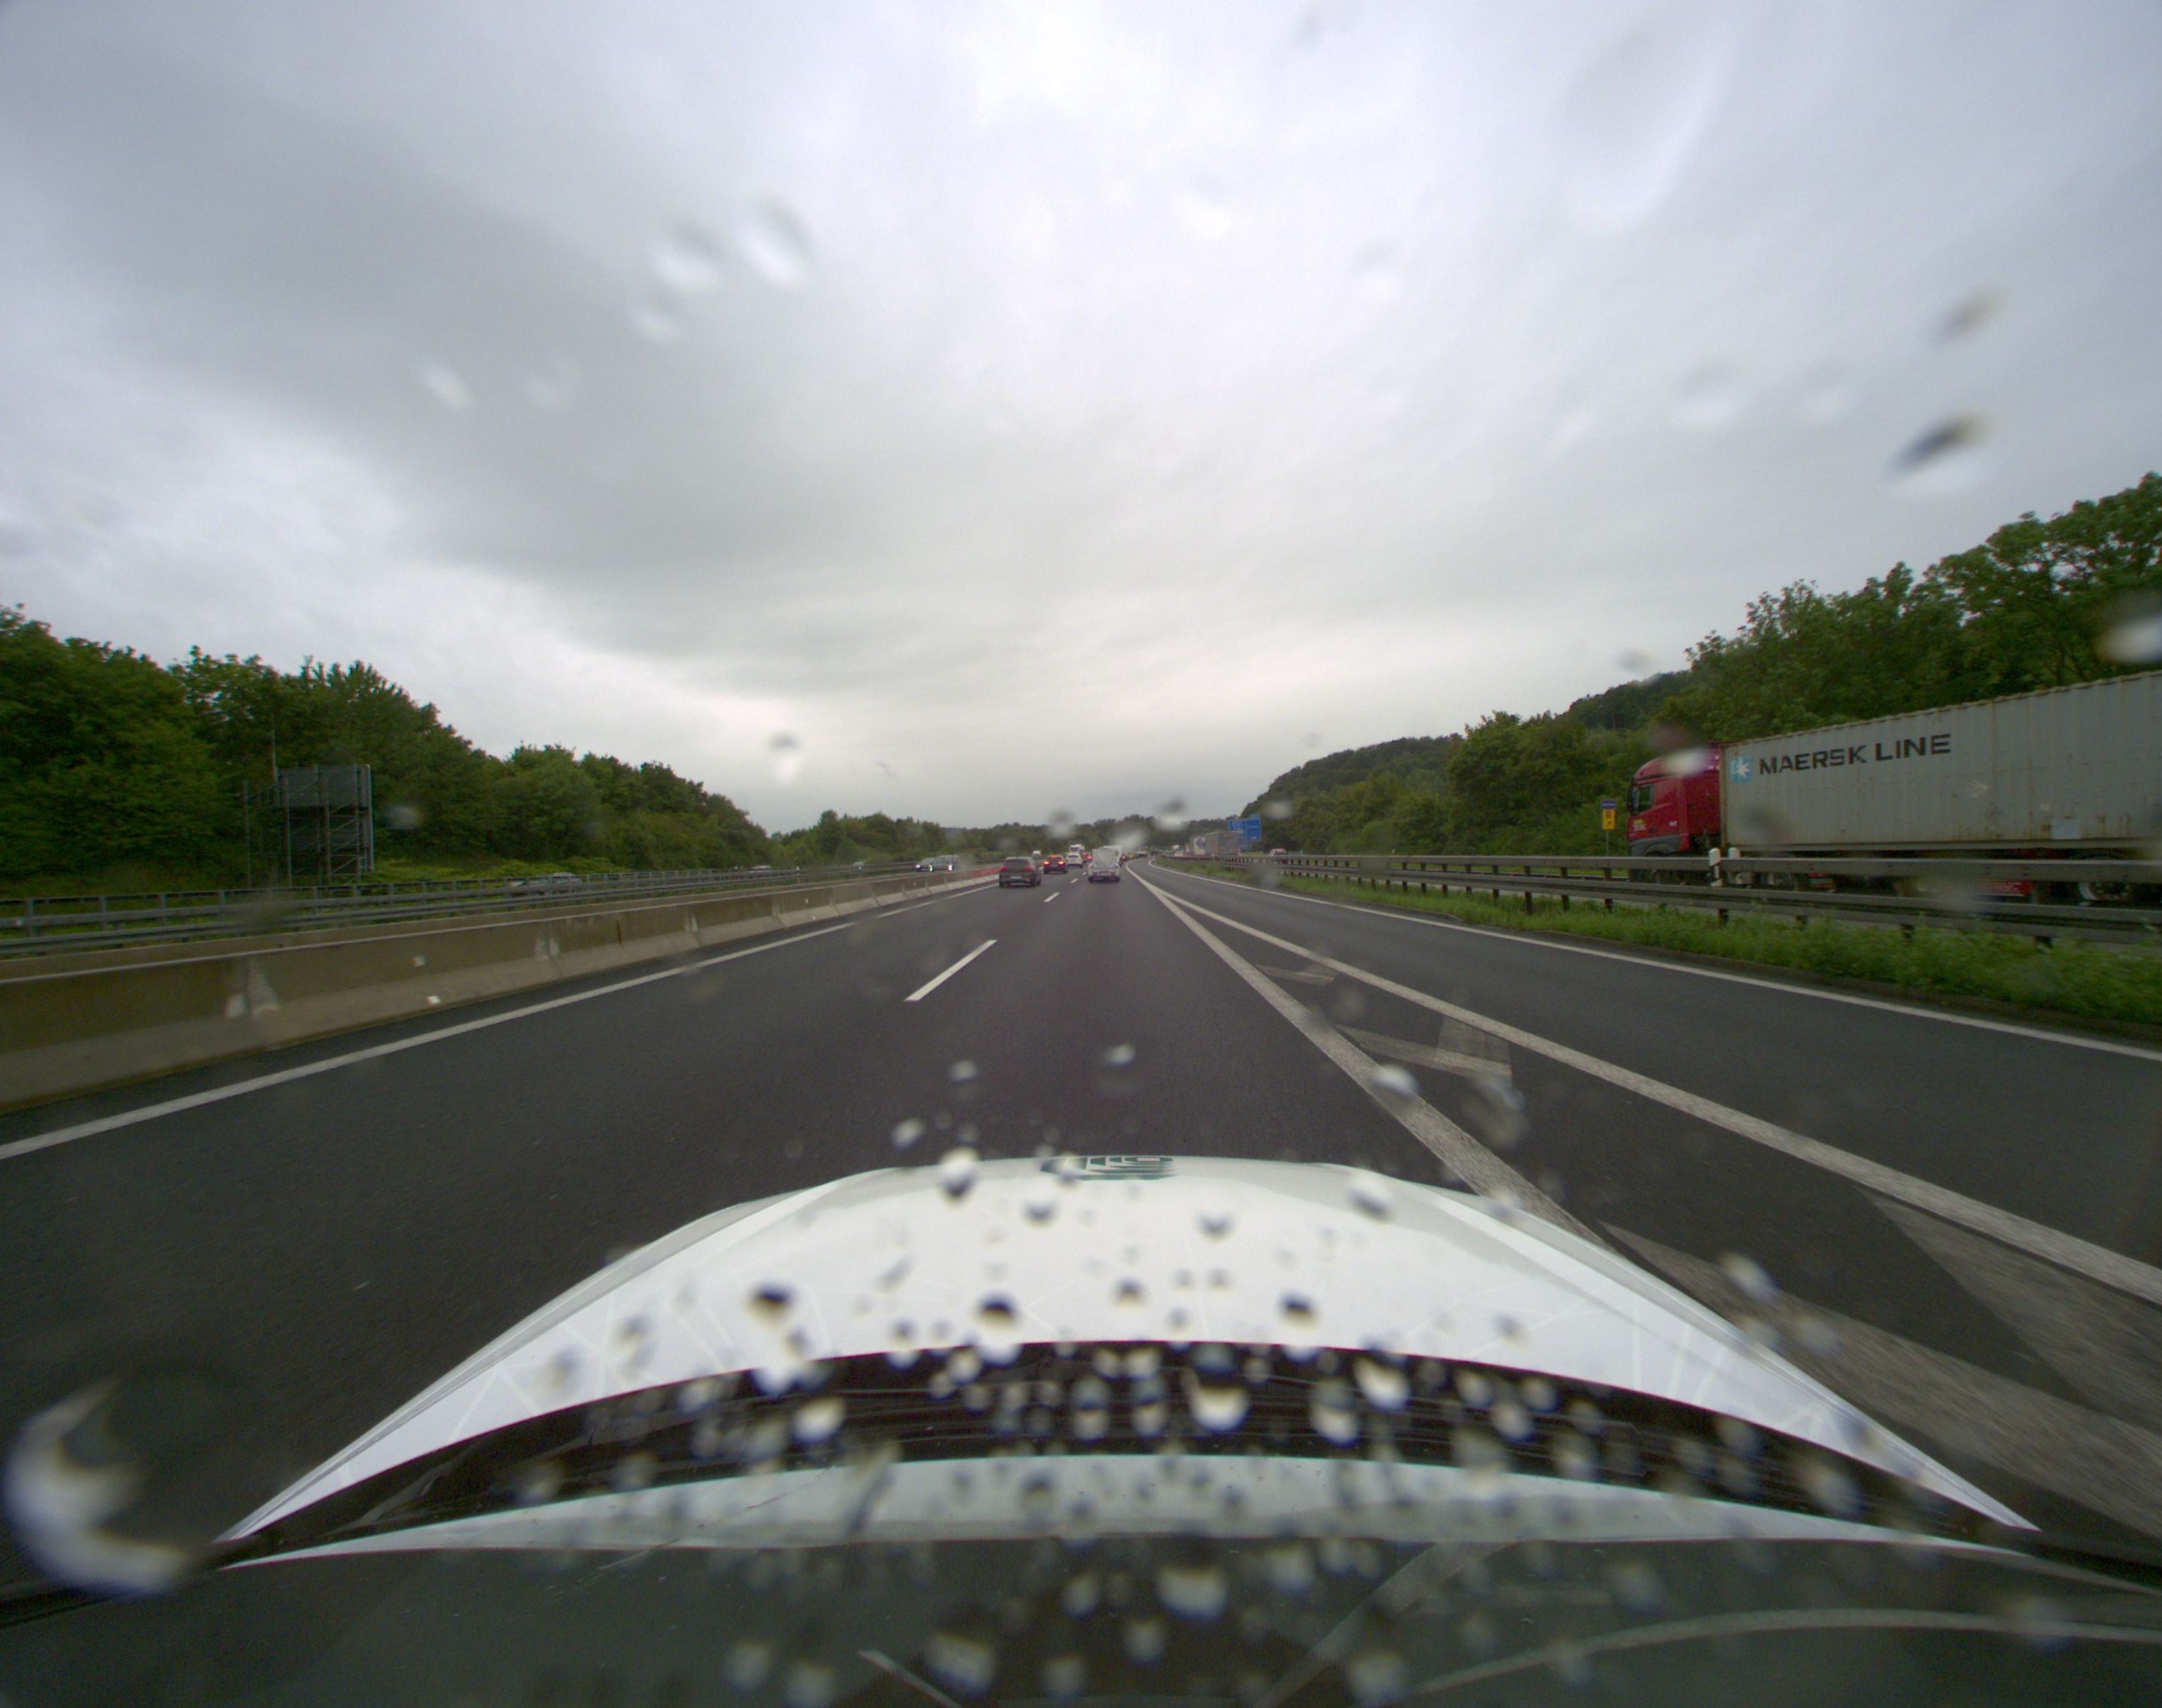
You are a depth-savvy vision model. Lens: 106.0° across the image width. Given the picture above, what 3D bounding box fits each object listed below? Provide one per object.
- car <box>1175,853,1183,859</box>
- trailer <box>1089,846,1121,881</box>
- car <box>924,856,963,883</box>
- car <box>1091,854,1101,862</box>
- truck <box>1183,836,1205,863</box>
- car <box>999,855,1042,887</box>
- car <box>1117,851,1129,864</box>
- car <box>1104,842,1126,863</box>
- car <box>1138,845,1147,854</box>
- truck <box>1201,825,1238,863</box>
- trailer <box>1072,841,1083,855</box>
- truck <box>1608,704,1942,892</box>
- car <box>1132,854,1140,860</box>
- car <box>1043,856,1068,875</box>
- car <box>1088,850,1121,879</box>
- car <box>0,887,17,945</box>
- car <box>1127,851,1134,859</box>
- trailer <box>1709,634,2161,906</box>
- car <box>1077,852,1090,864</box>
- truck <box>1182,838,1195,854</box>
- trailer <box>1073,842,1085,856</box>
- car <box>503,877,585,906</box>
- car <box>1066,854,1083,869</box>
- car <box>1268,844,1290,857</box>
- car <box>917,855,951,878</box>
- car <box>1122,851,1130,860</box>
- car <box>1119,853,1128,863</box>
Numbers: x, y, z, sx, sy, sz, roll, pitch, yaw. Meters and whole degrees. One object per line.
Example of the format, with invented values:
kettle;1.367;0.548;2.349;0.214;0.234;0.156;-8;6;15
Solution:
car;21.336;0.451;177.523;1.666;1.456;4.008;-1;0;7
trailer;1.279;0.528;44.819;1.670;1.812;4.000;-1;0;1
car;-10.723;1.204;63.746;1.986;2.014;4.984;-1;0;2
car;2.950;0.770;158.413;1.768;1.640;4.047;-1;0;4
truck;20.271;-0.791;146.978;3.200;4.666;13.050;-1;0;5
car;-2.925;0.799;40.164;1.669;1.456;4.002;-1;0;2
car;6.647;0.573;128.450;1.668;2.067;4.006;-1;0;5
car;4.356;-0.183;102.708;2.496;2.585;5.706;-1;0;4
car;18.354;-1.231;243.070;2.504;2.574;5.318;-1;0;4
truck;18.247;-1.230;108.047;3.203;4.666;13.039;-1;0;2
trailer;-0.900;-1.486;220.835;2.625;3.715;6.497;-1;0;3
truck;16.503;-1.154;20.126;2.610;3.885;6.385;-1;0;-3
car;14.638;0.803;216.266;2.029;1.683;4.002;-1;0;2
car;-2.027;0.896;66.153;1.758;1.456;4.002;-1;0;2
car;1.431;0.618;48.623;1.811;1.616;4.780;-1;0;2
car;-28.332;1.580;18.717;1.670;1.456;4.632;-1;0;0
car;12.231;0.204;202.281;1.668;1.812;4.005;-1;0;4
trailer;16.750;-1.202;13.541;2.597;3.894;12.480;-1;0;-2
car;0.363;0.546;116.699;1.769;1.640;4.045;-1;0;2
truck;33.103;-2.514;251.137;3.643;4.666;13.058;-1;0;7
trailer;-0.577;-1.451;226.718;2.625;3.736;10.819;-1;0;3
car;-31.708;2.173;48.241;1.812;1.493;4.476;-1;0;1
car;-0.737;0.831;91.850;1.769;1.640;4.045;-1;0;2
car;22.144;-0.390;91.355;1.669;1.456;4.003;-1;0;3
car;-13.388;1.107;74.500;1.986;2.014;4.984;-1;0;2
car;9.599;0.354;173.652;1.668;1.812;4.005;-1;0;4
car;8.255;0.718;157.237;1.668;1.812;4.005;-1;0;4
